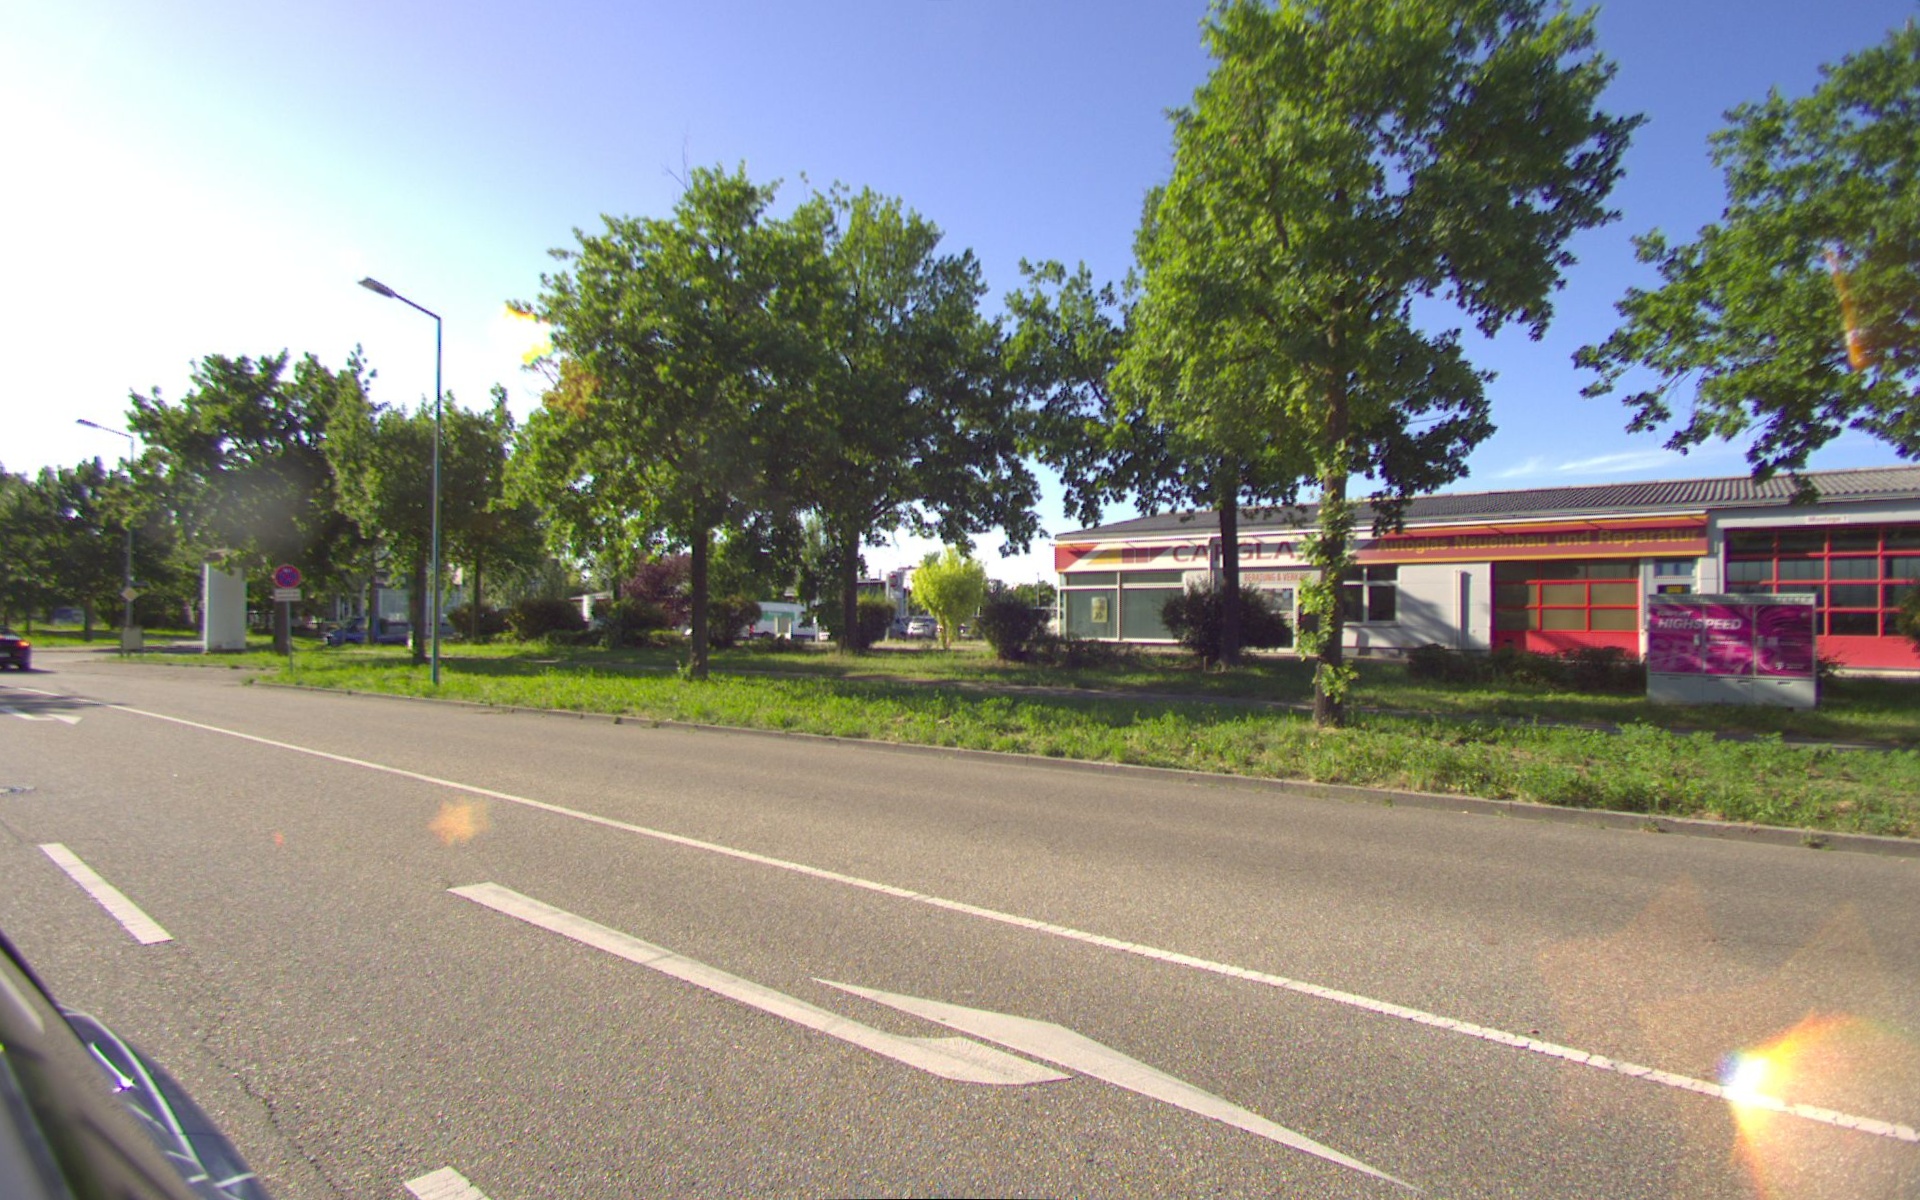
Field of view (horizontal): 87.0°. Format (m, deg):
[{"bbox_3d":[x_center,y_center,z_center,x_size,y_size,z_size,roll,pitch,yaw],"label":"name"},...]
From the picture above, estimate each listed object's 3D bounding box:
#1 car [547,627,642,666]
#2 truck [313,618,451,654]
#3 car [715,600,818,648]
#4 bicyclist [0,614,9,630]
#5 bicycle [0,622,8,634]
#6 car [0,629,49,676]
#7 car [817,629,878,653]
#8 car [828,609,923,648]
[{"bbox_3d":[-26.641,3.312,73.979,2.297,2.535,6.280,0,0,37],"label":"car"},{"bbox_3d":[-35.362,2.230,62.152,2.138,2.065,7.043,0,-2,38],"label":"truck"},{"bbox_3d":[-11.522,1.384,60.736,2.297,2.723,6.102,0,0,37],"label":"car"},{"bbox_3d":[-102.358,2.364,108.393,0.659,1.641,0.657,0,0,43],"label":"bicyclist"},{"bbox_3d":[-102.419,2.980,108.429,2.334,1.170,0.545,0,0,43],"label":"bicycle"},{"bbox_3d":[-30.339,1.608,31.542,4.579,1.414,1.975,-1,-5,37],"label":"car"},{"bbox_3d":[-6.487,2.371,58.504,1.572,1.312,3.489,-1,-1,38],"label":"car"},{"bbox_3d":[-4.615,1.577,56.222,2.297,2.085,5.359,-1,-2,37],"label":"car"}]
